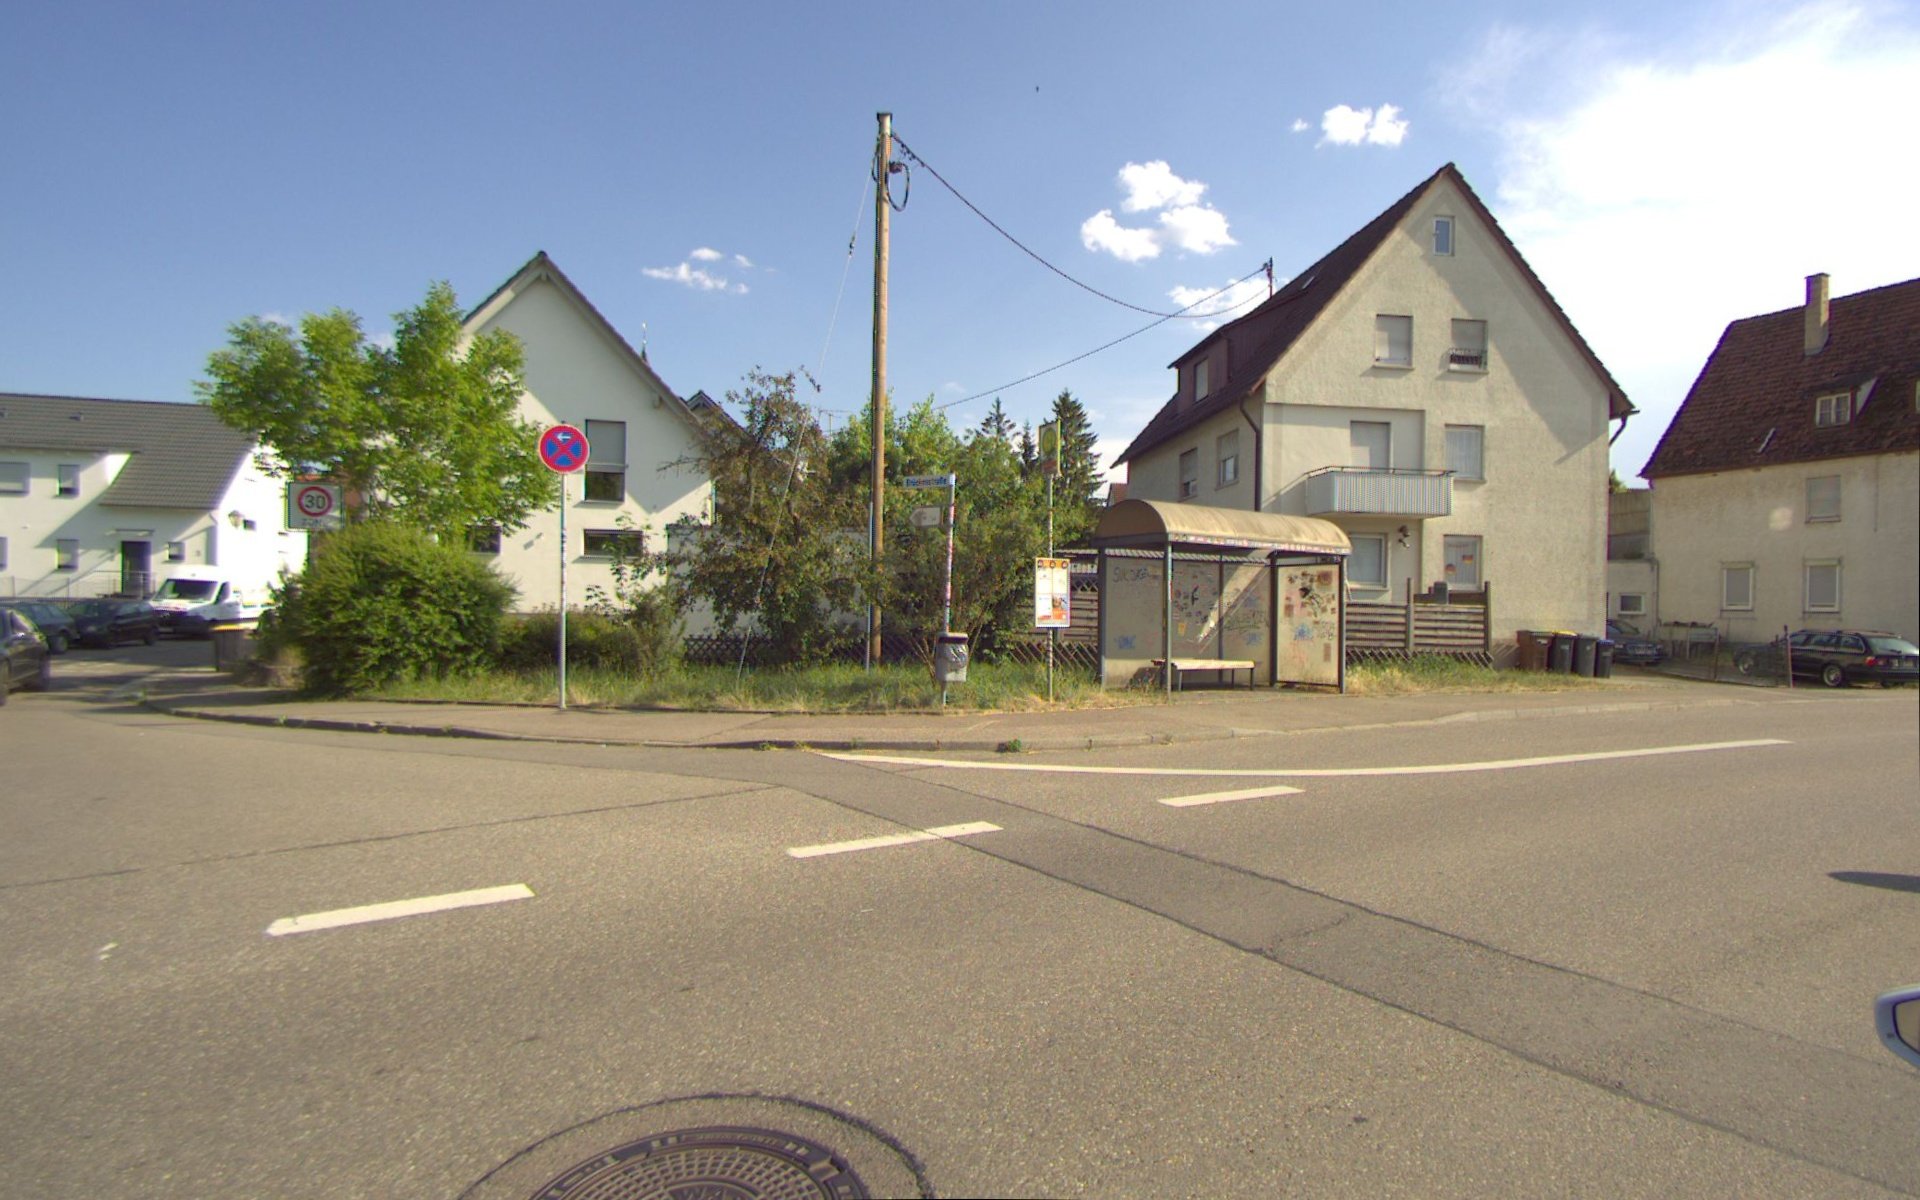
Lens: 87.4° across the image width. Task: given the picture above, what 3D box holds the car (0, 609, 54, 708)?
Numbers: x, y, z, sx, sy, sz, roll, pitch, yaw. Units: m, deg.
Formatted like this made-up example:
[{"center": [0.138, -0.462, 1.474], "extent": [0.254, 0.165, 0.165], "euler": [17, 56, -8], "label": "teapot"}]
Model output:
[{"center": [-16.219, 0.858, 16.234], "extent": [1.754, 1.450, 4.796], "euler": [2, -2, -36], "label": "car"}]

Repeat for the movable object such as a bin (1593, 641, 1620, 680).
[{"center": [15.924, 1.491, 24.733], "extent": [0.393, 0.937, 0.362], "euler": [3, -1, -9], "label": "movable object such as a bin"}]

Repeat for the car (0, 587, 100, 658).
[{"center": [-24.828, 0.532, 26.085], "extent": [2.084, 1.711, 4.572], "euler": [2, -1, -17], "label": "car"}]

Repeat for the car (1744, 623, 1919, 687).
[{"center": [23.475, 1.424, 27.102], "extent": [1.620, 1.452, 4.001], "euler": [1, 0, 2], "label": "car"}]

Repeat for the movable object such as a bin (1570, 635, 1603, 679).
[{"center": [15.400, 1.399, 24.708], "extent": [0.566, 1.036, 0.362], "euler": [3, -1, -9], "label": "movable object such as a bin"}]

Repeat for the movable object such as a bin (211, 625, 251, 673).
[{"center": [-17.252, 1.150, 23.781], "extent": [0.695, 1.105, 0.680], "euler": [1, -1, -34], "label": "movable object such as a bin"}]

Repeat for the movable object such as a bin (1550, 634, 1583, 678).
[{"center": [14.833, 1.365, 24.567], "extent": [0.548, 1.055, 0.362], "euler": [3, -1, -9], "label": "movable object such as a bin"}]

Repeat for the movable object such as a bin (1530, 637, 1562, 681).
[{"center": [14.283, 1.434, 24.479], "extent": [0.548, 1.029, 0.362], "euler": [3, -1, -9], "label": "movable object such as a bin"}]

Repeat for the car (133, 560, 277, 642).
[{"center": [-27.255, 0.111, 36.561], "extent": [2.079, 2.713, 5.599], "euler": [2, -1, -14], "label": "car"}]

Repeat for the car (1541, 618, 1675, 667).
[{"center": [21.218, 1.362, 33.096], "extent": [1.654, 1.379, 3.998], "euler": [1, 1, -3], "label": "car"}]

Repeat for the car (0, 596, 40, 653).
[{"center": [-25.231, 0.591, 25.362], "extent": [1.747, 1.450, 4.019], "euler": [2, -2, -25], "label": "car"}]
